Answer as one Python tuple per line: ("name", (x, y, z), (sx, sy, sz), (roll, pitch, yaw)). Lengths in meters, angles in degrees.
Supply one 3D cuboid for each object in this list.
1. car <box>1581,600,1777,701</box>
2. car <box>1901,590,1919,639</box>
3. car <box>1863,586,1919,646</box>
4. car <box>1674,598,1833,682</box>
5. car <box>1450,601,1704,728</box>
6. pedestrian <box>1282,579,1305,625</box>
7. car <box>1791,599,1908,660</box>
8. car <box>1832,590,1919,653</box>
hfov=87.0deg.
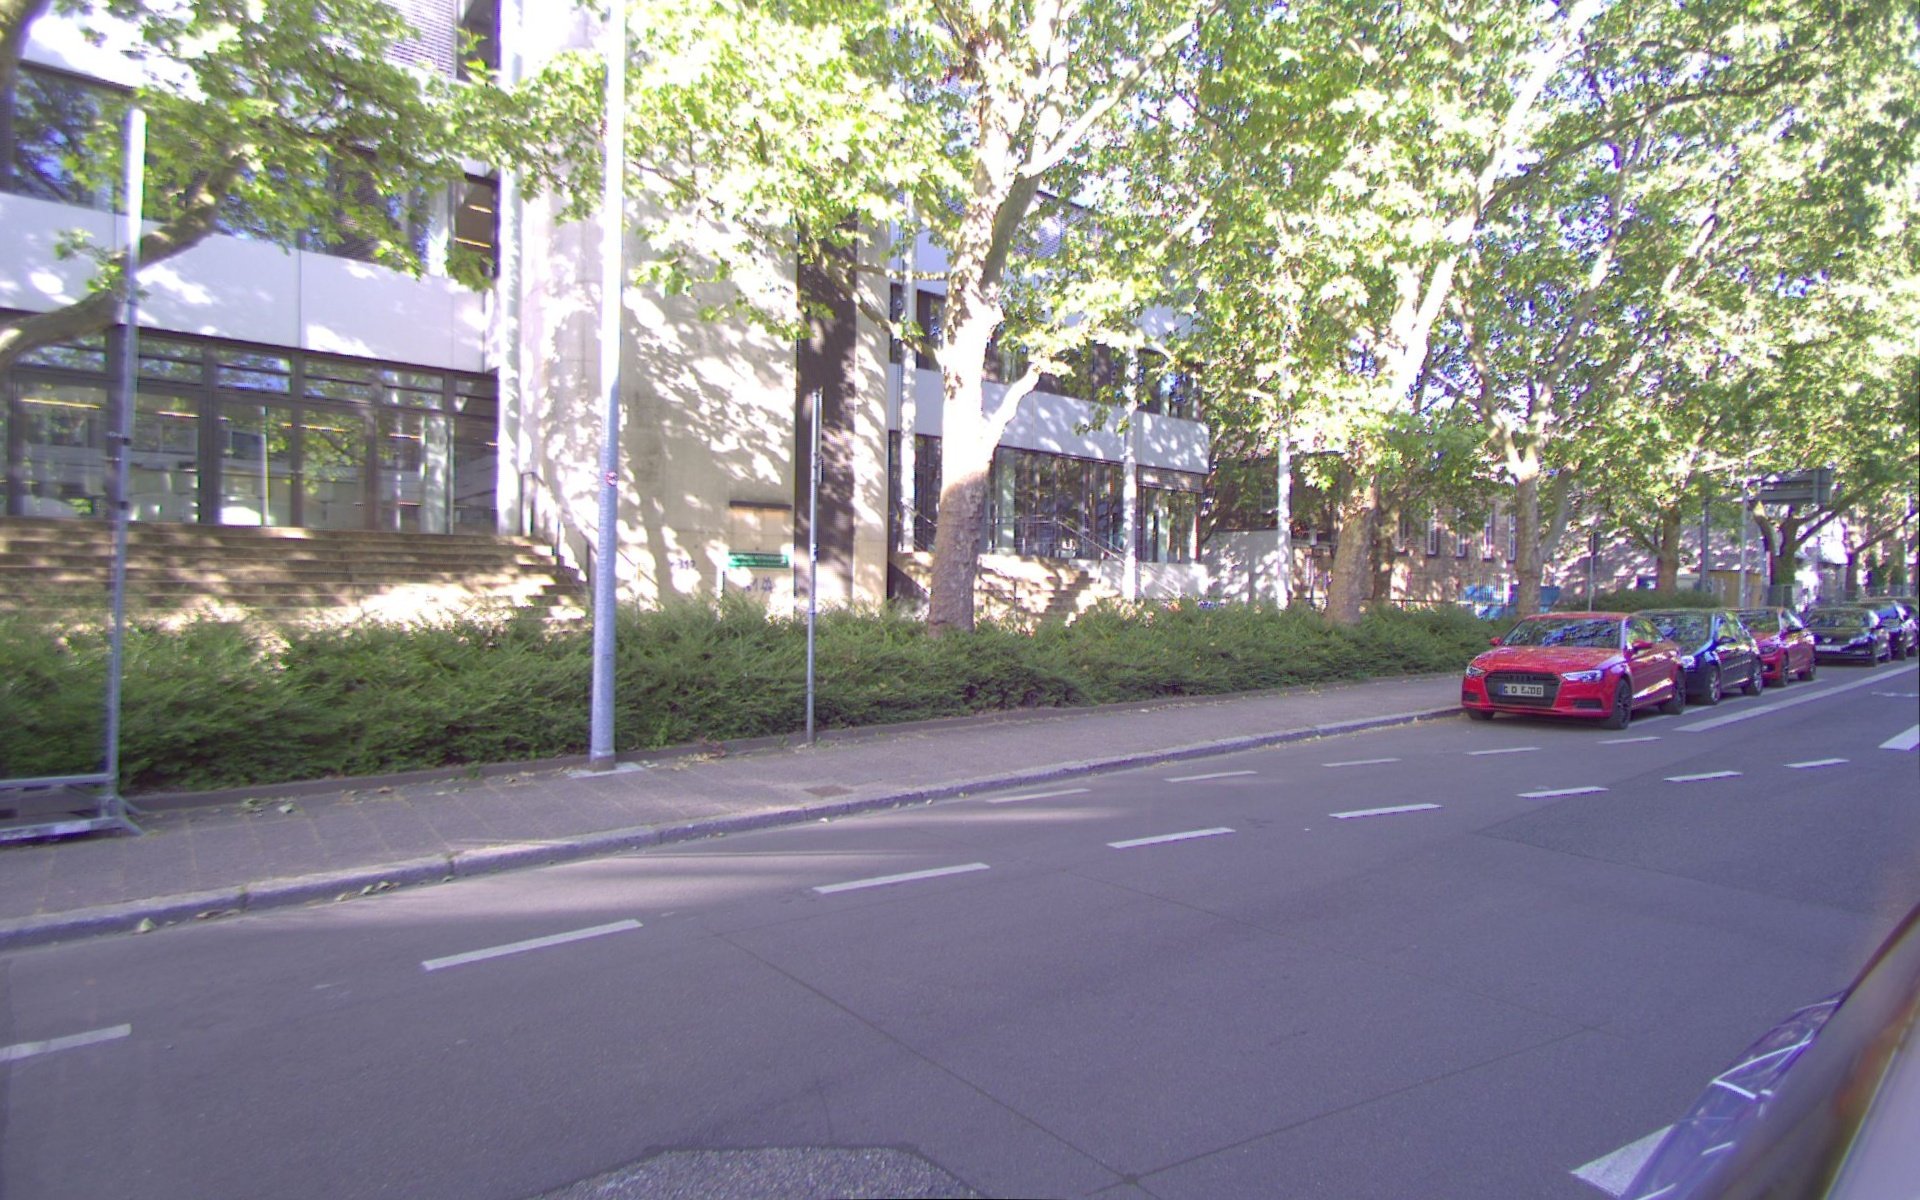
("car", (11.845, 0.741, 16.591), (3.841, 1.451, 1.753), (0, -1, -41))
("car", (36.188, 0.519, 37.267), (4.370, 1.750, 1.753), (0, -1, -41))
("car", (30.965, 0.489, 32.970), (4.370, 1.844, 1.753), (0, -1, -41))
("car", (15.697, 0.723, 19.967), (3.841, 1.486, 1.753), (0, -1, -41))
("car", (8.269, 0.748, 13.446), (3.930, 1.427, 1.753), (0, -1, -41))
("pedestrian", (12.267, 0.069, 37.217), (0.649, 1.691, 0.525), (0, 0, -39))
("car", (22.941, 0.718, 26.066), (3.841, 1.451, 1.753), (0, -1, -41))
("car", (26.708, 0.588, 29.179), (4.101, 1.674, 1.753), (0, -1, -41))
